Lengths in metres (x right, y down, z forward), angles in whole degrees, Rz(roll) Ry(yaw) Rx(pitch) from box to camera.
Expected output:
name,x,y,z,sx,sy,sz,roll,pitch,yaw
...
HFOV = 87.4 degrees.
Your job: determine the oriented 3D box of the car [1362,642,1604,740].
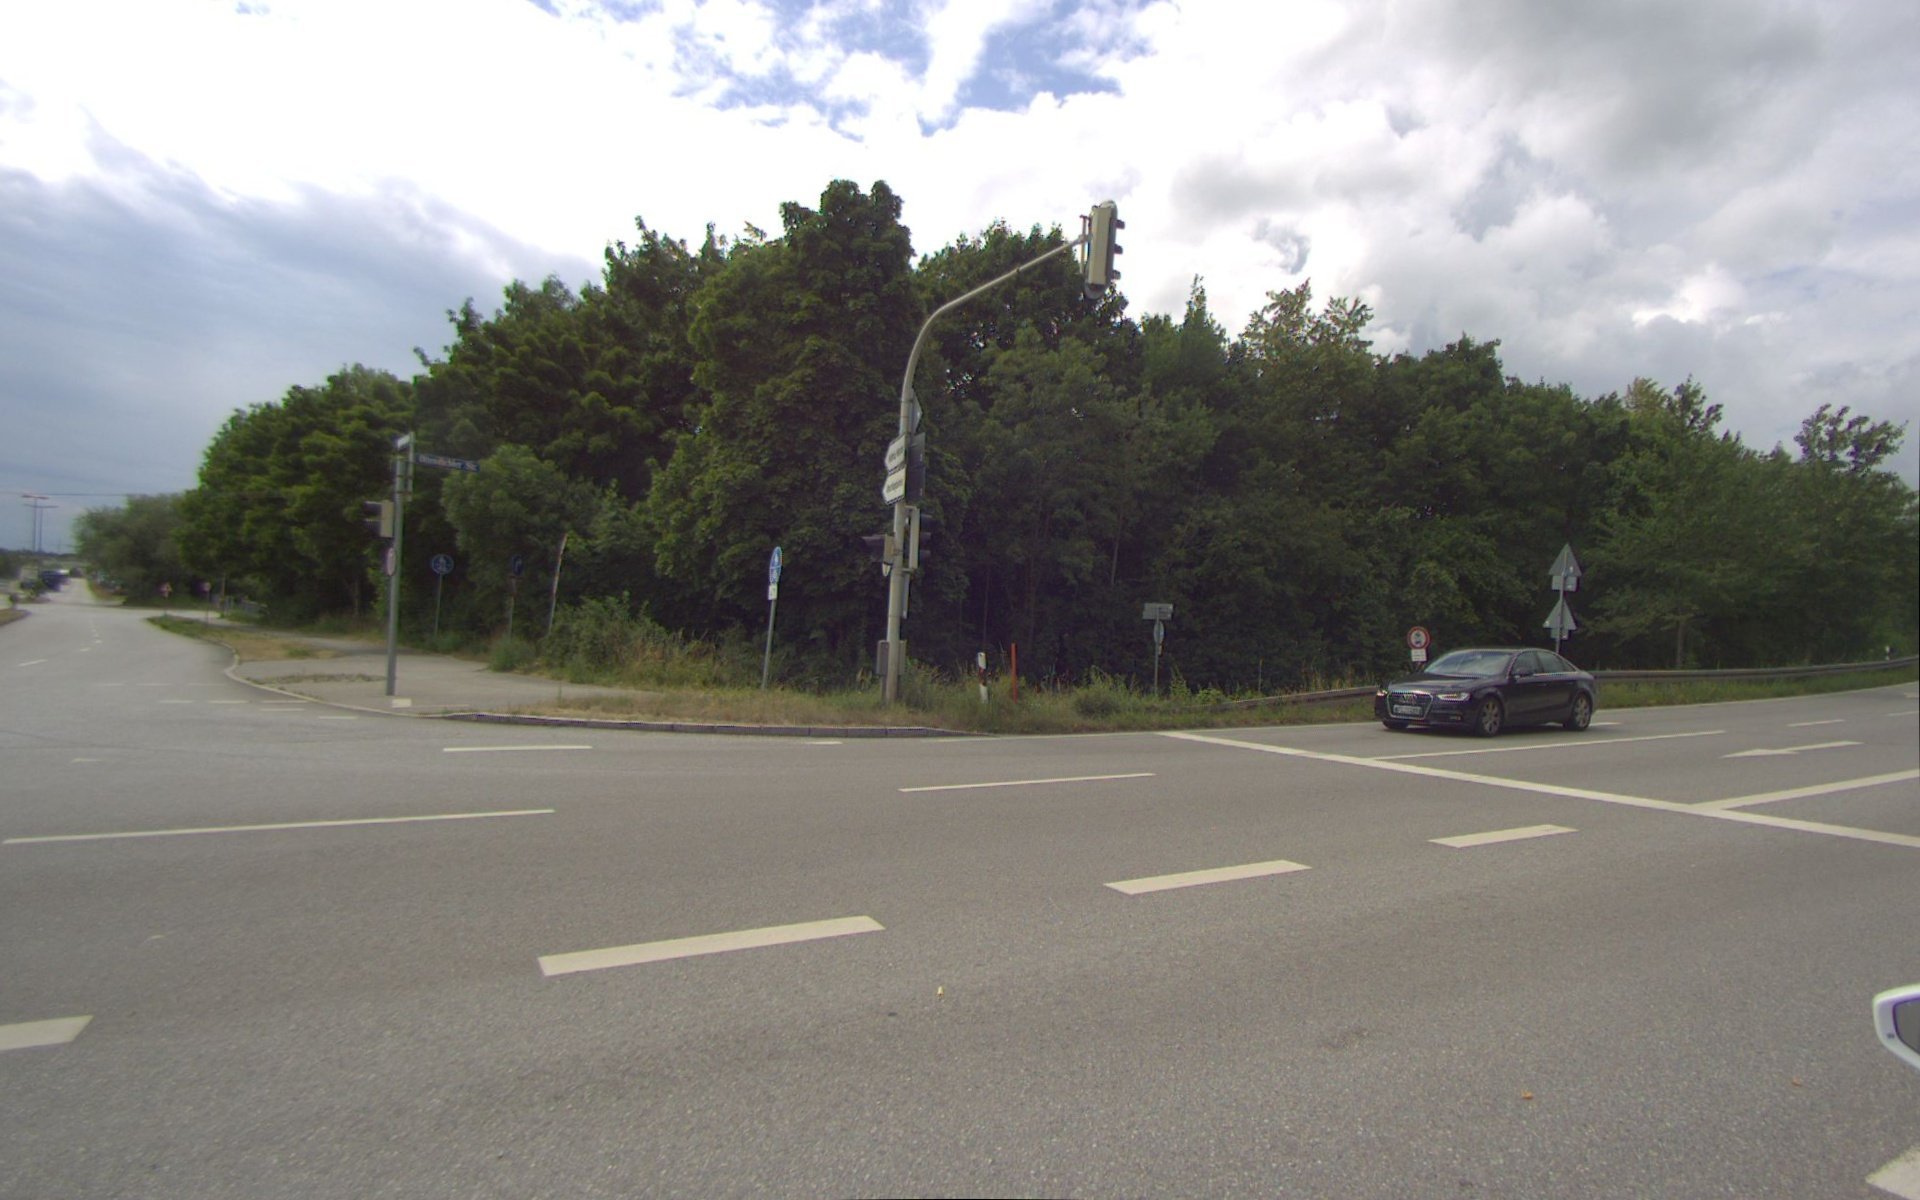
name,x,y,z,sx,sy,sz,roll,pitch,yaw
car,8.834,1.462,16.870,4.204,1.424,1.728,2,-2,-32
